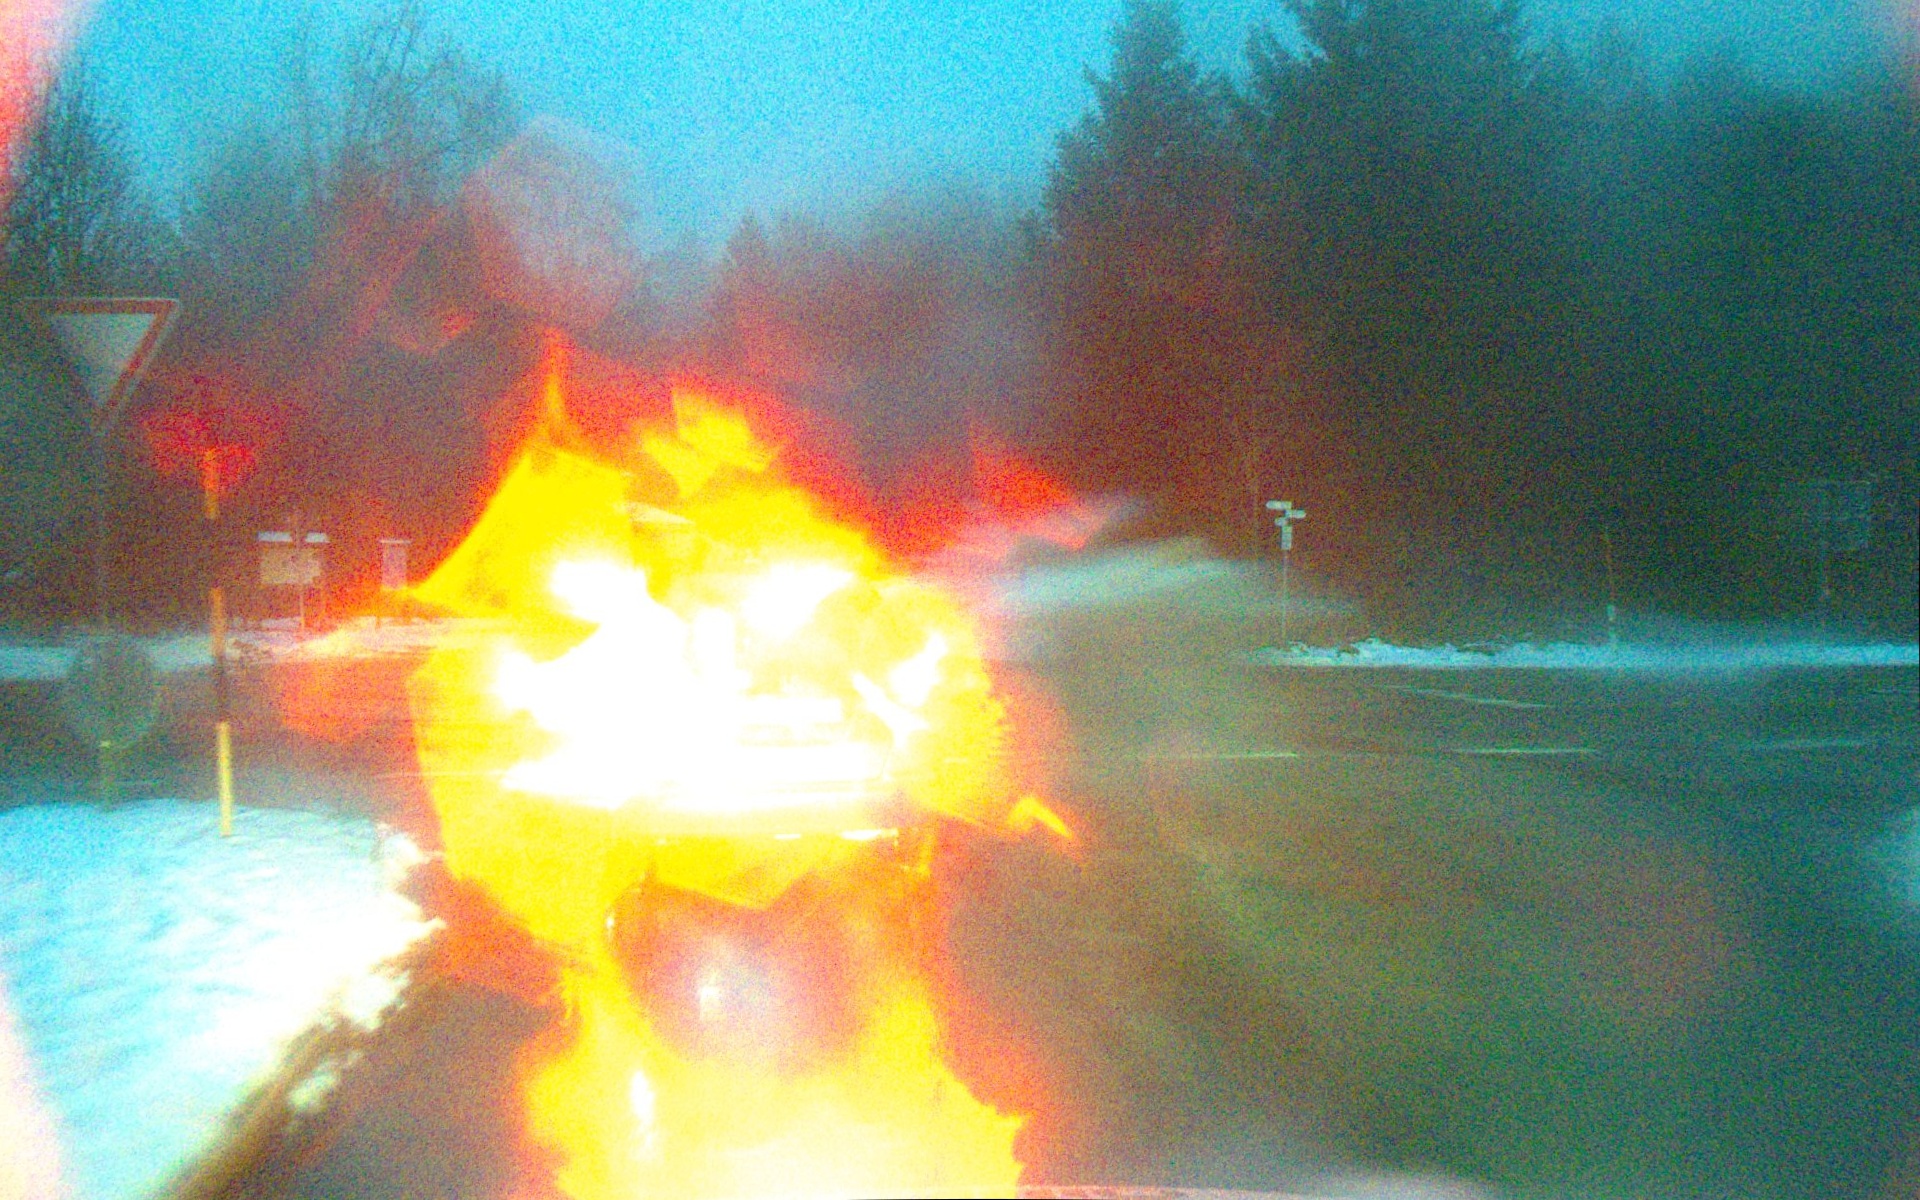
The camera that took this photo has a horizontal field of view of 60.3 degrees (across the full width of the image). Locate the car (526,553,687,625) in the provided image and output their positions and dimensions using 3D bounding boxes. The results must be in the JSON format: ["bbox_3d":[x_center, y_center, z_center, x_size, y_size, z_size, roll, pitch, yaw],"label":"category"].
[{"bbox_3d":[-9.724,-0.296,45.637,3.863,1.914,2.001,1,0,7],"label":"car"}]

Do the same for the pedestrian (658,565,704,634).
[{"bbox_3d":[-7.576,-0.016,44.945,0.940,1.860,0.926,1,-1,12],"label":"pedestrian"}]

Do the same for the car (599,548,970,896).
[{"bbox_3d":[-1.203,0.534,9.578,1.663,1.579,3.843,1,1,-13],"label":"car"}]
